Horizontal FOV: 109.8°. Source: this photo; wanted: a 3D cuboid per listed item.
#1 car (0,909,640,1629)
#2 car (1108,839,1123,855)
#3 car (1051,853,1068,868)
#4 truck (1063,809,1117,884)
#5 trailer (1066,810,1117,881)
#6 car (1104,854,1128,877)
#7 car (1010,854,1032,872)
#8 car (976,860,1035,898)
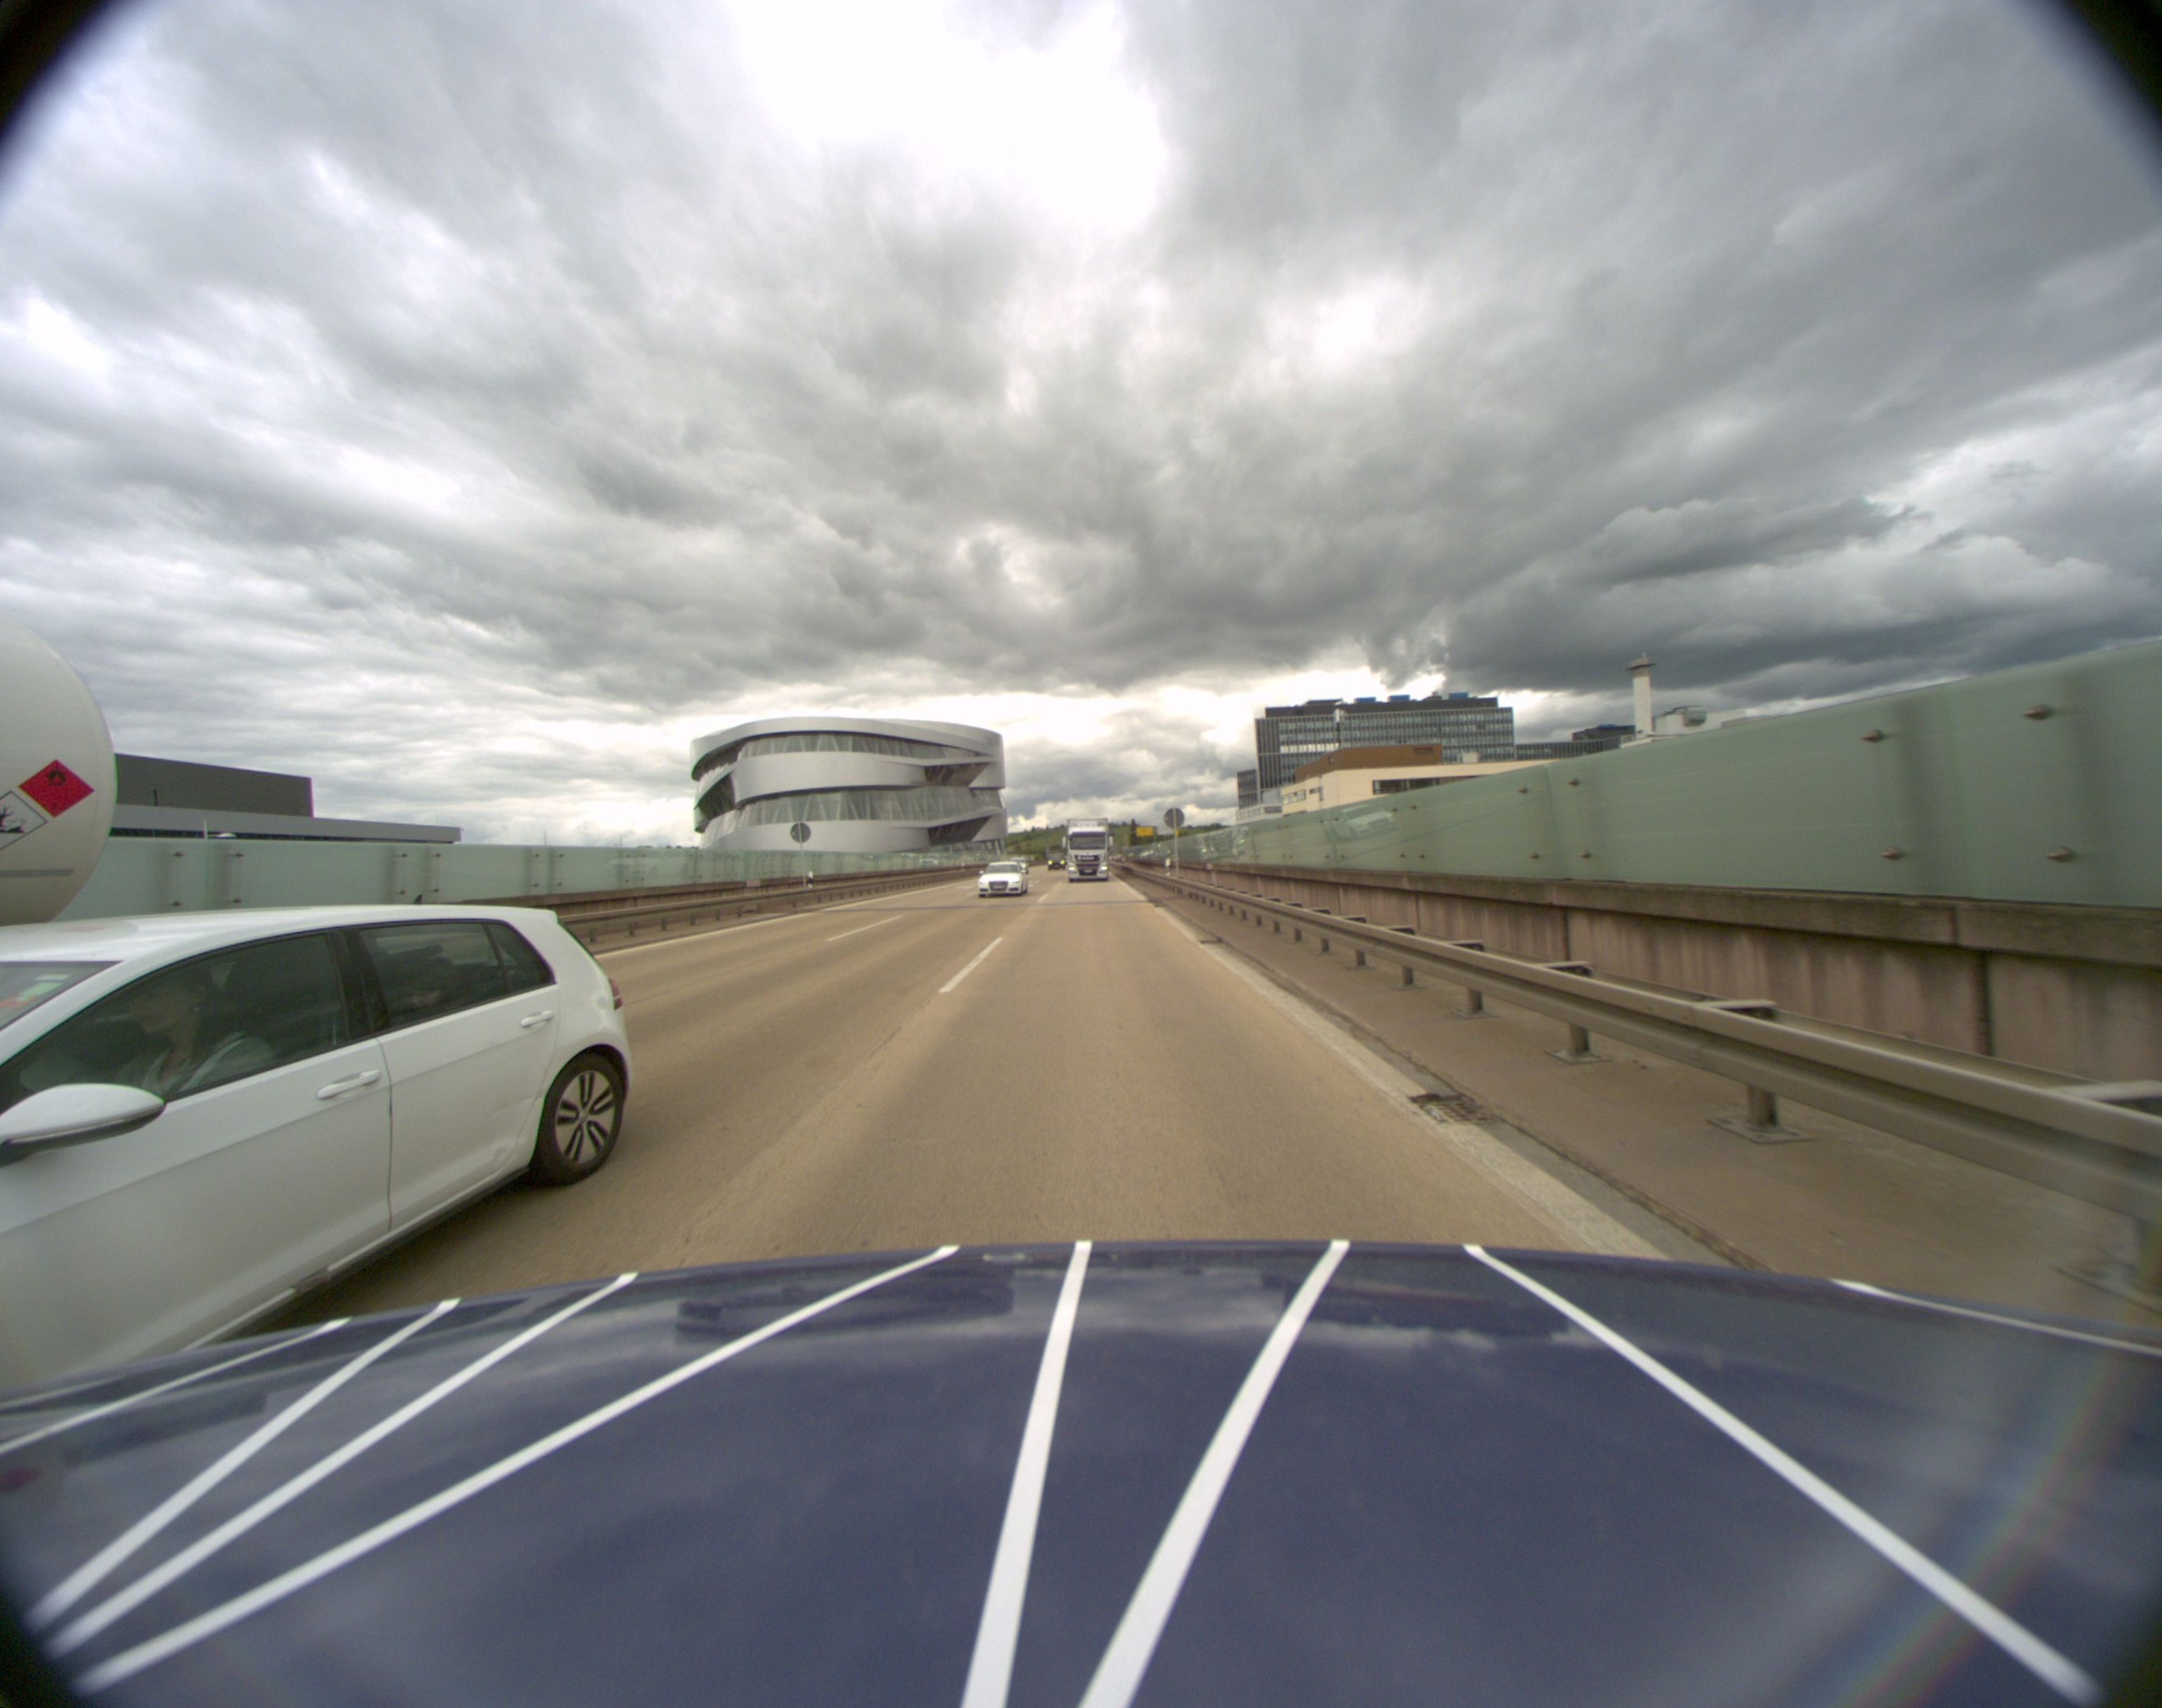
[{"bbox_3d":[-3.319,1.038,2.119,1.759,1.443,4.072,-1,0,0],"label":"car"},{"bbox_3d":[5.494,-1.066,121.475,2.144,2.494,4.524,-2,0,1],"label":"car"},{"bbox_3d":[-2.525,0.725,90.271,1.765,1.624,3.628,-2,0,2],"label":"car"},{"bbox_3d":[0.639,-0.434,46.276,2.945,4.136,6.292,-2,0,3],"label":"truck"},{"bbox_3d":[0.802,-0.504,50.531,2.879,4.104,11.221,-2,0,2],"label":"trailer"},{"bbox_3d":[3.144,1.029,69.108,1.998,2.002,4.000,-2,0,0],"label":"car"},{"bbox_3d":[-5.914,0.895,75.315,1.785,1.624,3.628,-2,0,2],"label":"car"},{"bbox_3d":[-3.130,1.013,32.248,1.848,1.443,3.933,-2,0,3],"label":"car"}]
